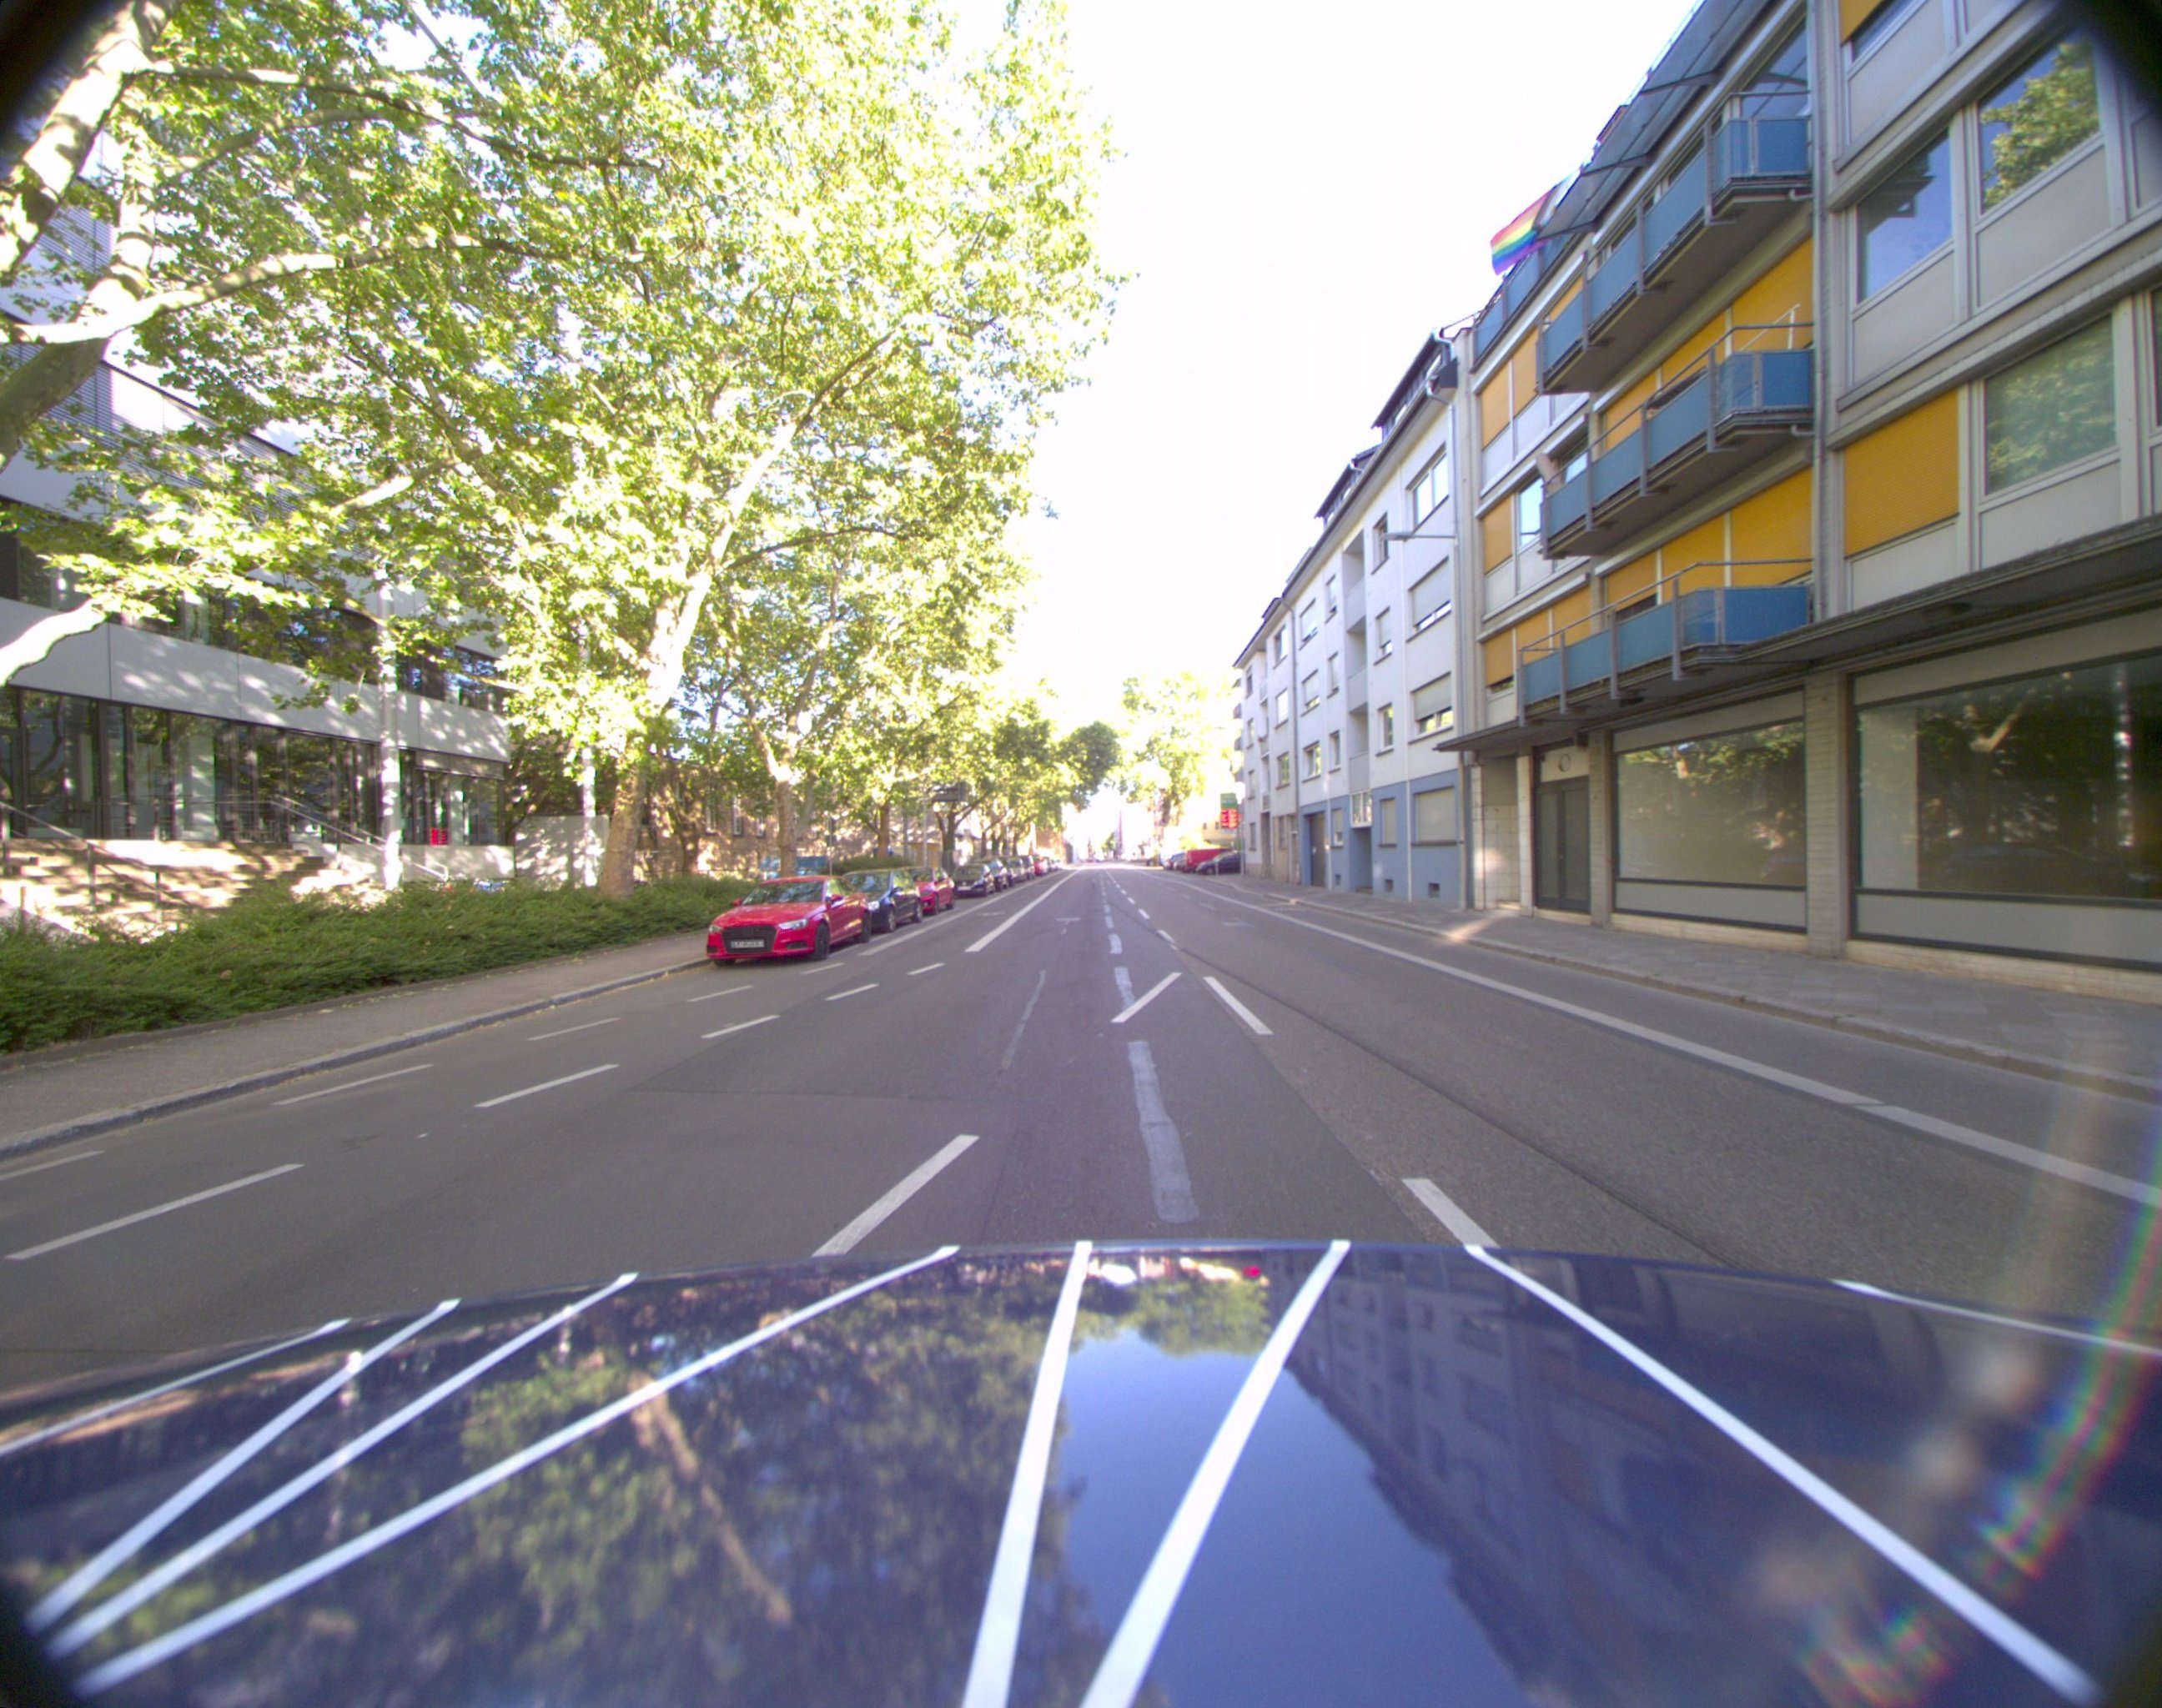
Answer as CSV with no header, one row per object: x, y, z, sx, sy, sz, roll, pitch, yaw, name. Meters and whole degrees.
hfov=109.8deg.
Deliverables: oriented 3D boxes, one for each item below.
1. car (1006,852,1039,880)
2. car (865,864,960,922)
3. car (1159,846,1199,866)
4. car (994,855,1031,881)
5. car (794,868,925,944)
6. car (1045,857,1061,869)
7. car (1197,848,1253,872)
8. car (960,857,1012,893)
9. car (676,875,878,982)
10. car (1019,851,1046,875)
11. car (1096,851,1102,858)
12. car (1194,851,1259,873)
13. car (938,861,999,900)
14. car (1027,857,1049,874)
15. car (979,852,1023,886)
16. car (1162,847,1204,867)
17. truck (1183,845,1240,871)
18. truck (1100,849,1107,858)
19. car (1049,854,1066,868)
-4.241,0.838,55.594,1.998,1.838,3.999,-2,1,1,car
-5.130,1.143,23.680,1.998,1.490,3.828,-2,1,1,car
10.949,0.205,85.319,4.236,2.025,2.000,-2,1,3,car
-4.534,0.918,50.929,1.998,1.557,4.142,-2,1,1,car
-5.174,1.163,18.309,1.998,1.452,3.644,-2,1,1,car
-3.347,1.064,92.743,1.693,1.364,3.999,-2,1,1,car
10.800,0.438,57.120,3.810,1.563,1.658,-2,1,0,car
-4.686,1.000,38.131,1.998,1.592,4.142,-2,1,1,car
-5.189,1.191,13.643,1.907,1.417,3.999,-2,1,1,car
-4.223,0.763,66.399,1.998,1.960,3.999,-2,1,1,car
6.167,0.179,259.460,1.998,2.002,3.999,-2,1,1,car
10.455,0.560,54.789,4.324,1.398,1.658,-2,1,0,car
-4.839,1.123,33.185,1.998,1.447,3.589,-2,1,1,car
-4.037,1.076,72.003,1.824,1.466,3.999,-2,1,1,car
-4.609,0.833,44.522,1.998,1.777,4.572,-2,1,1,car
10.862,0.271,80.918,4.236,1.945,2.000,-2,1,3,car
10.286,0.308,60.217,4.092,1.913,2.000,-2,1,0,truck
6.878,-0.307,233.829,1.998,2.653,5.314,-2,1,0,truck
-3.185,0.900,103.014,1.998,1.682,3.999,-2,1,1,car
